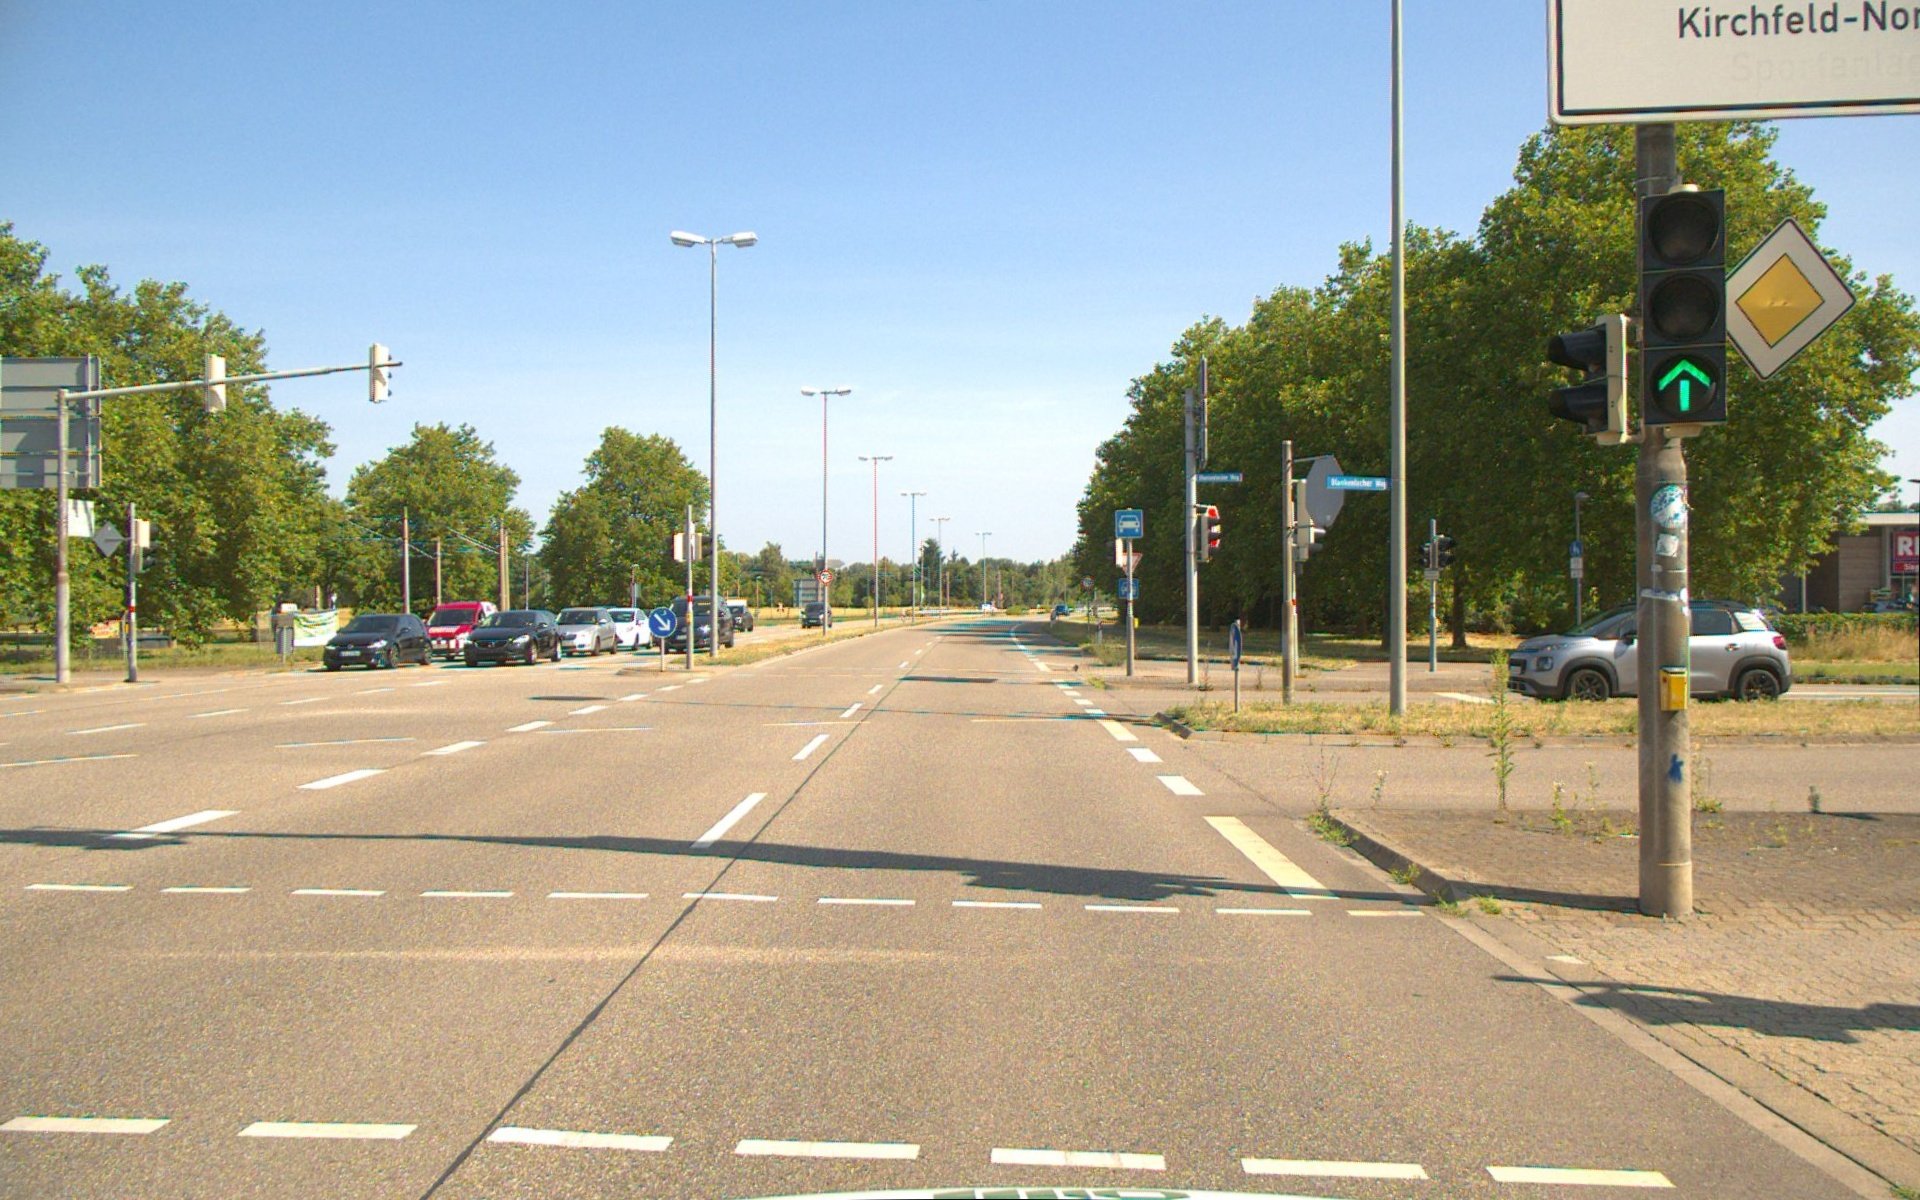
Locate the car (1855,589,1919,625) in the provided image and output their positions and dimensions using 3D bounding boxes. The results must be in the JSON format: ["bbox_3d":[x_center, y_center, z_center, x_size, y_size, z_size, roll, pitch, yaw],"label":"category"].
[{"bbox_3d":[48.966,0.347,85.362,4.398,1.781,1.989,-1,0,5],"label":"car"}]

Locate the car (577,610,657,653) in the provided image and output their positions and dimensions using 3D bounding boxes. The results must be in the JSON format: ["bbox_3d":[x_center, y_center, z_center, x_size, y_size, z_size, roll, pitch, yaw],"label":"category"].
[{"bbox_3d":[-11.923,1.065,57.742,1.790,1.410,3.844,-1,0,3],"label":"car"}]

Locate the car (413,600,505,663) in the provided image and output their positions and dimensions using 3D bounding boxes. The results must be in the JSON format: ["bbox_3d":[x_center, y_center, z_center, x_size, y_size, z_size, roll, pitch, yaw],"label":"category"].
[{"bbox_3d":[-15.256,0.938,50.547,1.670,1.800,4.226,-2,0,-3],"label":"car"}]

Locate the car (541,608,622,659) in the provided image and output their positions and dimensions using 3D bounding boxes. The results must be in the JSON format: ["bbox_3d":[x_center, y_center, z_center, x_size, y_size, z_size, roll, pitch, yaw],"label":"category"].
[{"bbox_3d":[-11.639,1.009,51.091,1.586,1.483,3.871,-1,0,0],"label":"car"}]

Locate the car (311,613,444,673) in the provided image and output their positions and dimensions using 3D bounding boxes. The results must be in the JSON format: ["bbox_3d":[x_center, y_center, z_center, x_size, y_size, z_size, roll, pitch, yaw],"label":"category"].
[{"bbox_3d":[-15.408,1.095,43.996,1.846,1.483,4.231,-1,0,3],"label":"car"}]

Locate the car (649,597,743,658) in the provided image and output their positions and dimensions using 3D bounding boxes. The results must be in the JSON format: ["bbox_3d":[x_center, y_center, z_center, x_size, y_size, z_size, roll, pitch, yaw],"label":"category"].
[{"bbox_3d":[-8.092,0.810,51.085,1.940,1.781,4.509,-1,0,3],"label":"car"}]

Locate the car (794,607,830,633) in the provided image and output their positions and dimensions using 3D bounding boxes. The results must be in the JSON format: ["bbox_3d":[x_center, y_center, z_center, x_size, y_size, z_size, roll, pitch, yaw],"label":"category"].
[{"bbox_3d":[-10.364,1.392,116.114,1.940,1.811,4.490,-1,0,2],"label":"car"}]

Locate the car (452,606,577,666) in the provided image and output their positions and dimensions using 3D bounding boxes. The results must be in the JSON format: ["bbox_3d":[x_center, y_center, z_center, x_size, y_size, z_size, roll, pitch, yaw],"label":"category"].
[{"bbox_3d":[-11.665,0.902,43.612,1.940,1.483,4.334,-1,0,3],"label":"car"}]

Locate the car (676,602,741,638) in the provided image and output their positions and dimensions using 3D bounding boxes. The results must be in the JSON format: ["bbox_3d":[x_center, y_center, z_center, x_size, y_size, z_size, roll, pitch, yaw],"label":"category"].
[{"bbox_3d":[-10.850,0.842,71.616,1.940,1.483,4.451,-1,0,3],"label":"car"}]

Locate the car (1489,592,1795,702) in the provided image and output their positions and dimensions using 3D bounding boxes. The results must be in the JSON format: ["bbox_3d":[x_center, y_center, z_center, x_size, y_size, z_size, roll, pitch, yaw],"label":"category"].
[{"bbox_3d":[10.372,0.701,25.342,3.968,1.591,1.743,-1,0,0],"label":"car"}]

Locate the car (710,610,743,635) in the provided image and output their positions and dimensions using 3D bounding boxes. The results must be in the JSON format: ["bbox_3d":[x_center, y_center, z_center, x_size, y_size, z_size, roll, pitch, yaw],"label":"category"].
[{"bbox_3d":[-14.571,1.372,103.267,1.943,1.483,4.222,-1,0,-7],"label":"car"}]
